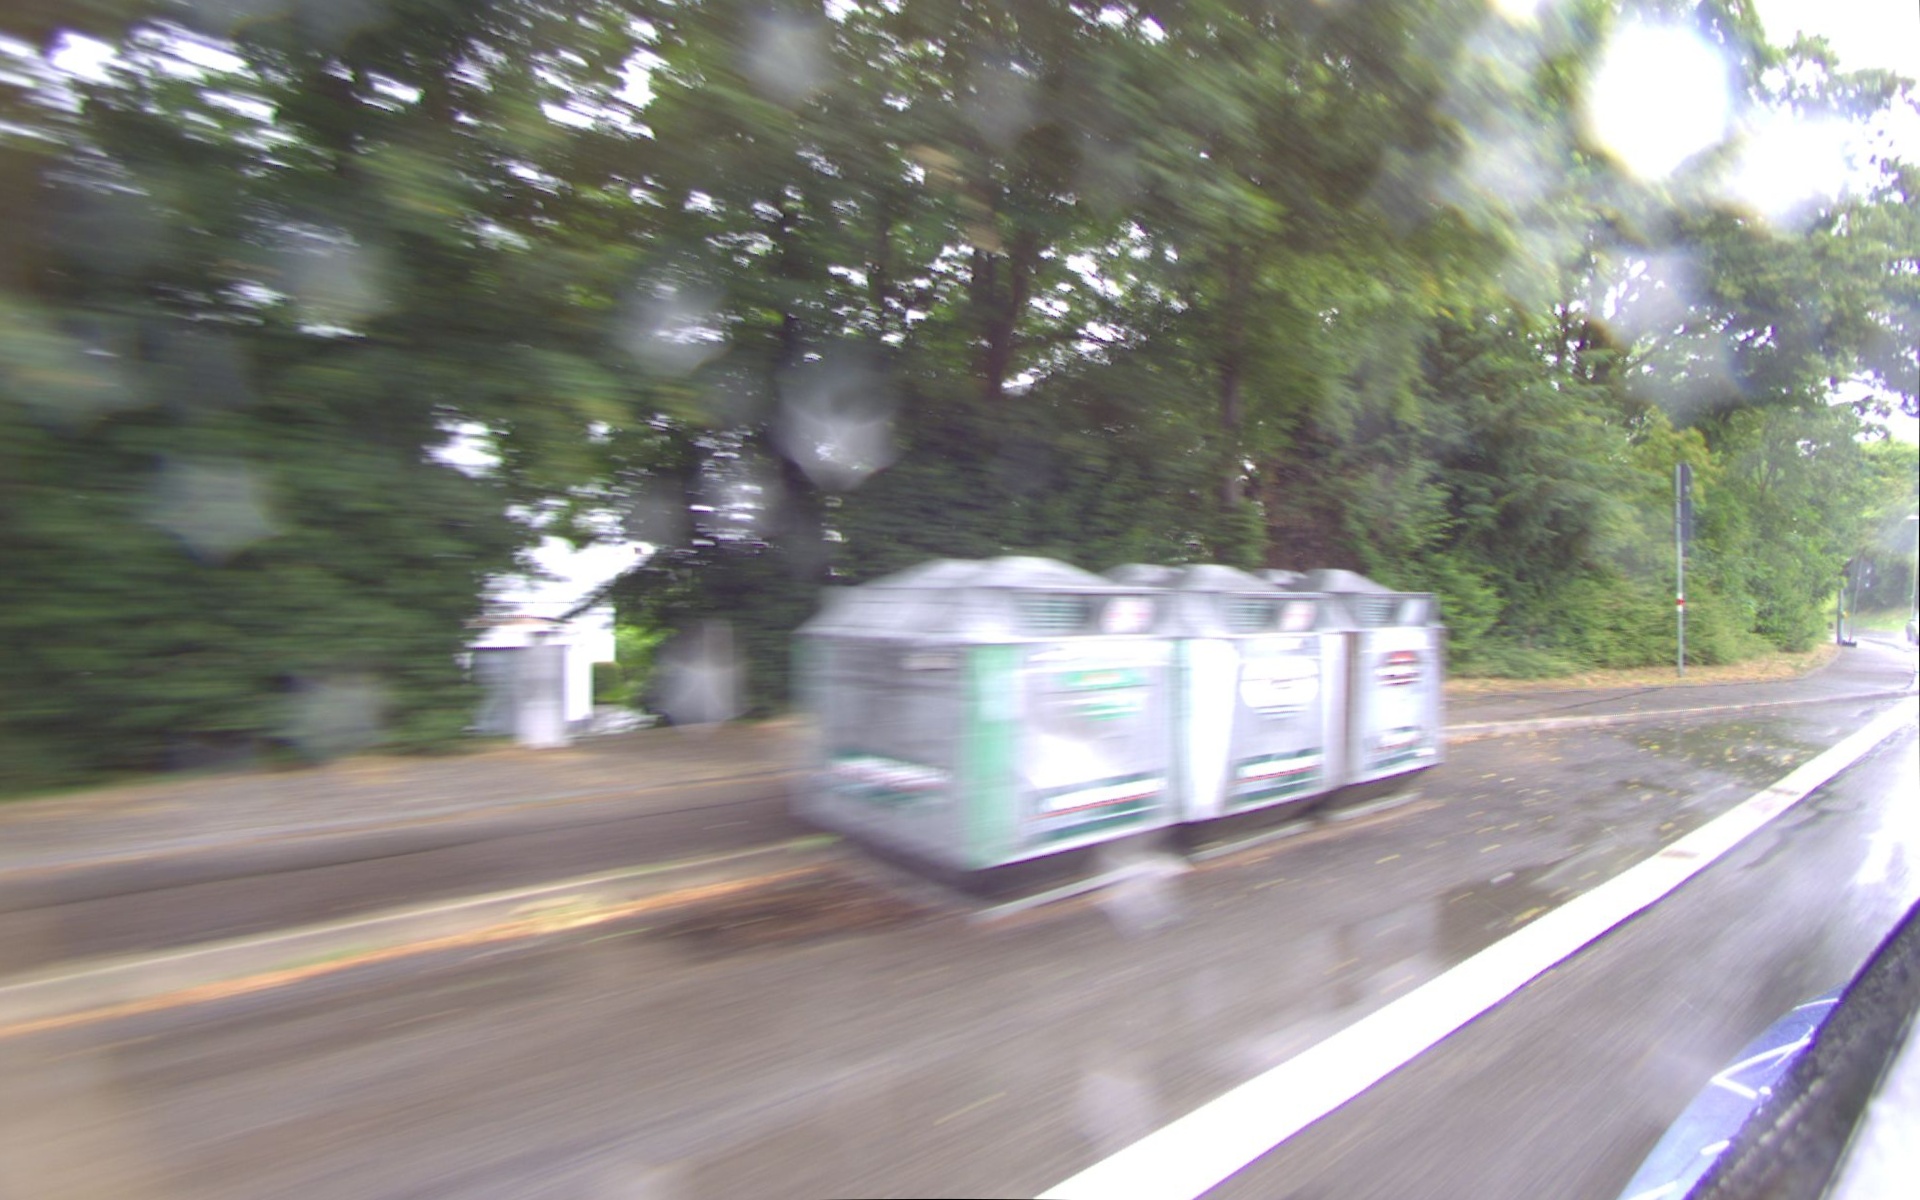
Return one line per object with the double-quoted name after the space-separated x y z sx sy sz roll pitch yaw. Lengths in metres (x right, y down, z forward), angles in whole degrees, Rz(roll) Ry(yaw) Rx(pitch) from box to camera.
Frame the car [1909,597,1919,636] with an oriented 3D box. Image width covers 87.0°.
39.268 0.661 40.062 1.787 1.571 3.953 0 0 33 "car"
